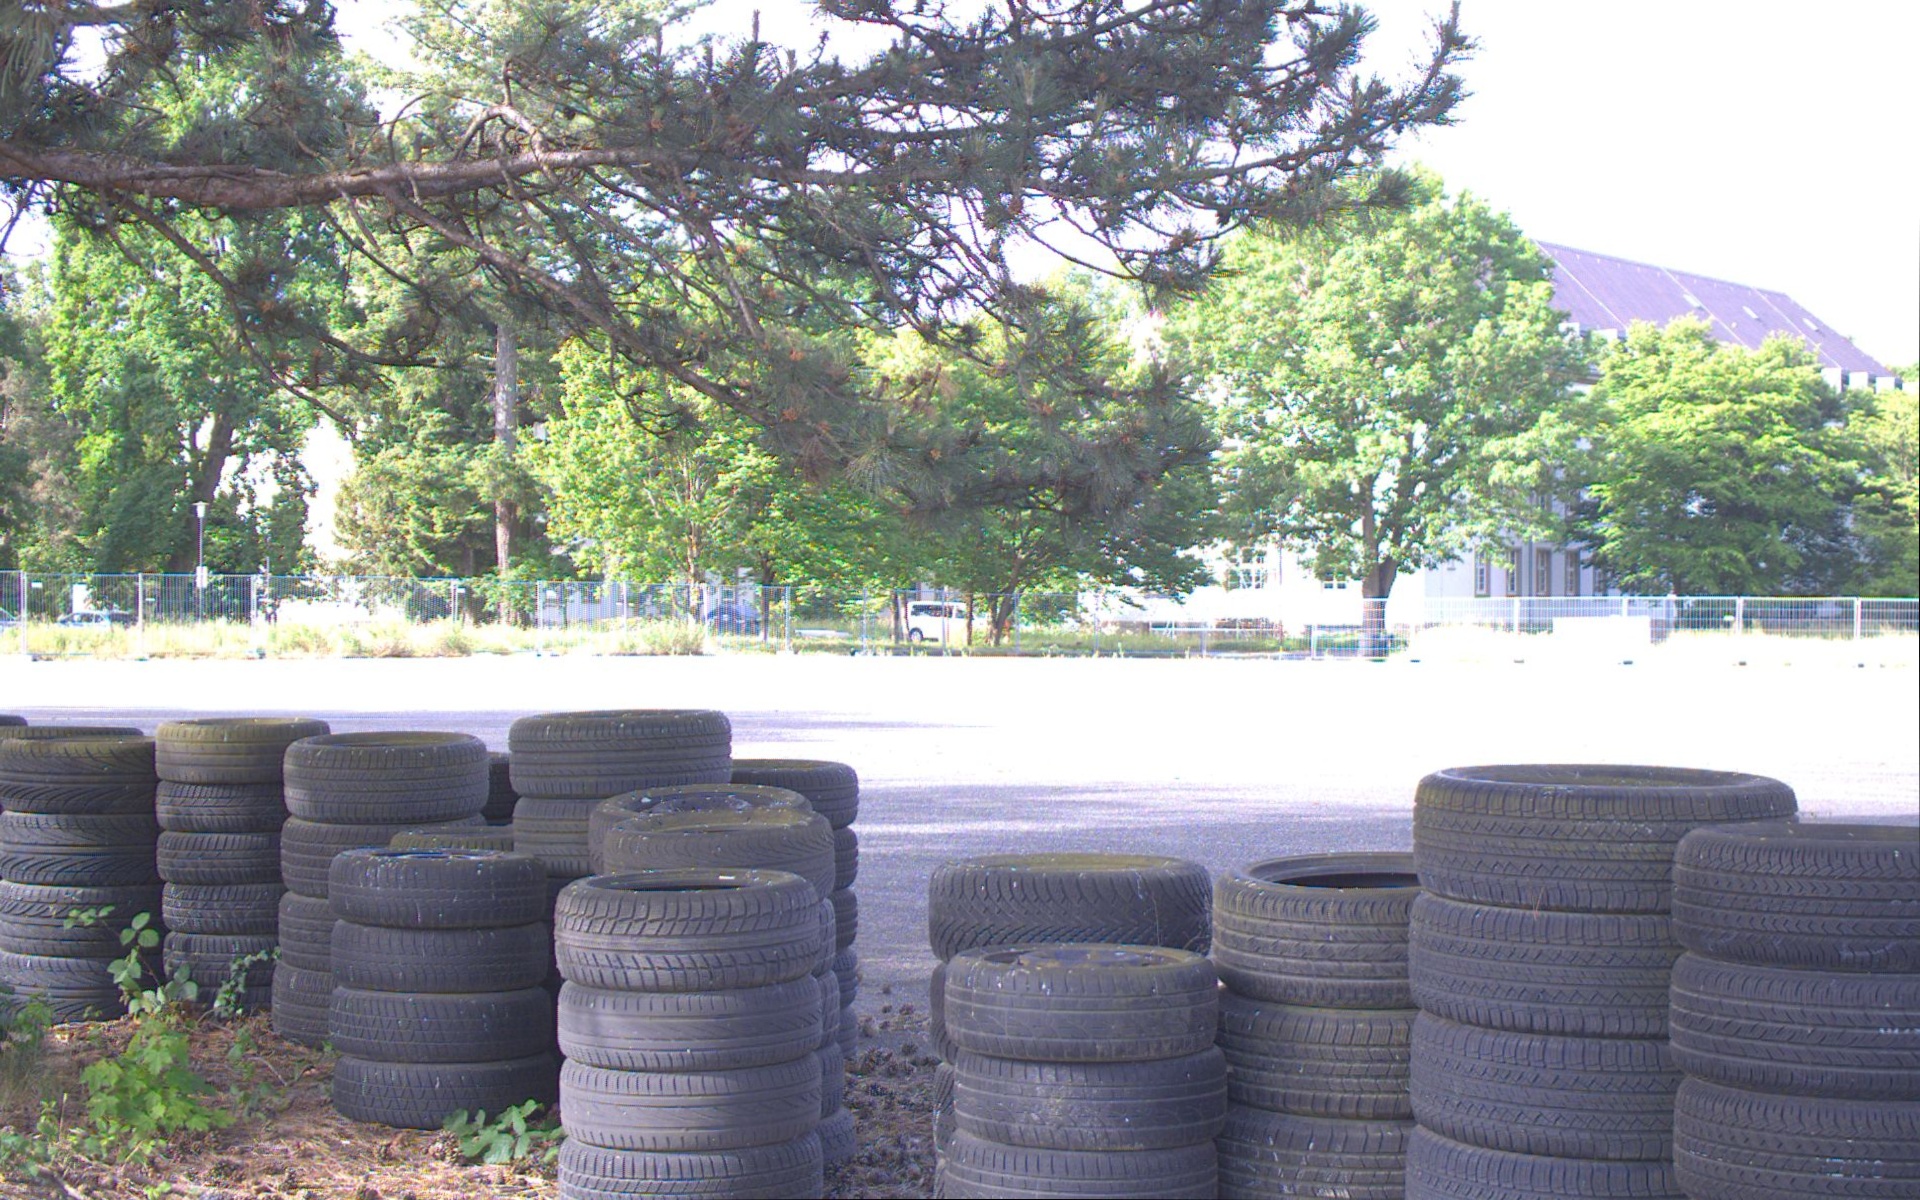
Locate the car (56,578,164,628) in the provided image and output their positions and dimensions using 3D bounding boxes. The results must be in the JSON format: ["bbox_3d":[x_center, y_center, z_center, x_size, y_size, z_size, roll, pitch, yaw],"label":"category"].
[{"bbox_3d":[-30.480,0.094,123.245,1.995,1.744,3.997,0,0,-45],"label":"car"}]
